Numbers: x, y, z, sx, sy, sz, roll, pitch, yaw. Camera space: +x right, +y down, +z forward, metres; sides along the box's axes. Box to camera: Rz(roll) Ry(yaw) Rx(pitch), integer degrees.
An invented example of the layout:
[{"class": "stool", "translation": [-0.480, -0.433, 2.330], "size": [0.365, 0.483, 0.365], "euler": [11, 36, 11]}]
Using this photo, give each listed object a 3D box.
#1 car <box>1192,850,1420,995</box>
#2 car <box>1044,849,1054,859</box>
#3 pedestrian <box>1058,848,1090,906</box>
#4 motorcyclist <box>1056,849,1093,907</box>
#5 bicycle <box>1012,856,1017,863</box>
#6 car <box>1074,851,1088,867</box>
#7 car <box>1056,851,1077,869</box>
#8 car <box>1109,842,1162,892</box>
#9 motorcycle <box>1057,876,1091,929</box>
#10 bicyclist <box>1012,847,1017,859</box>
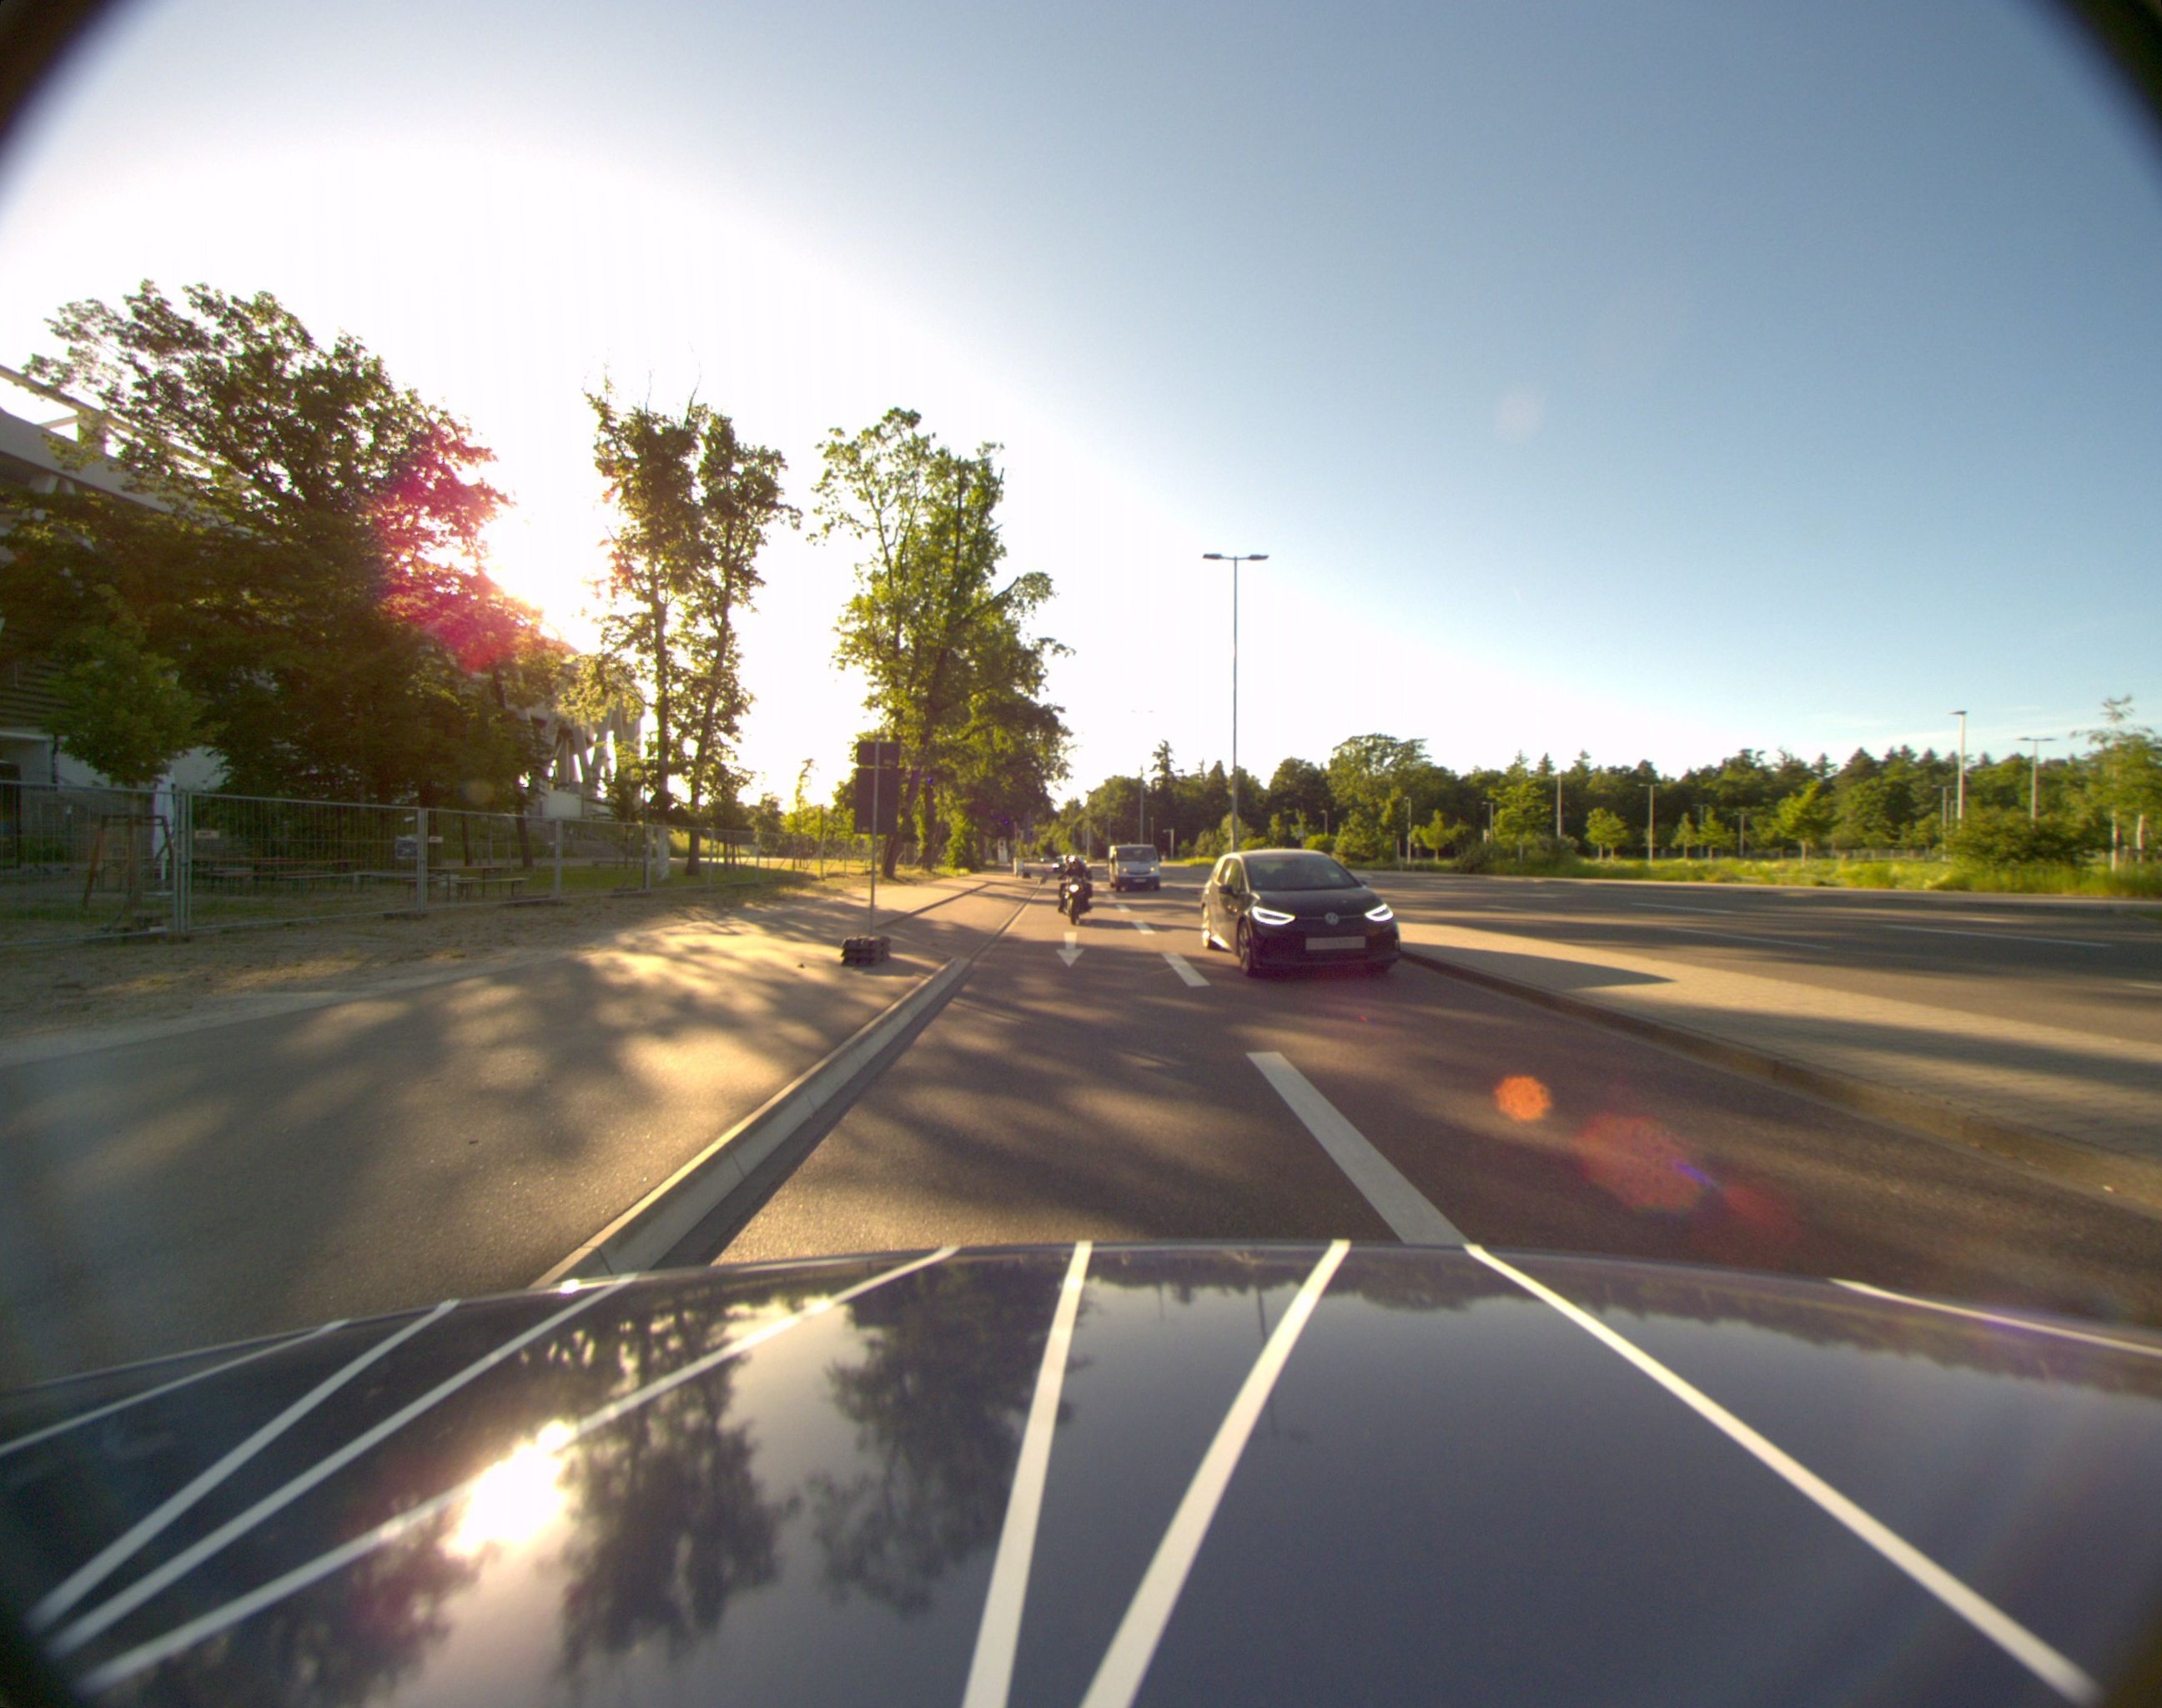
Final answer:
[{"class": "car", "translation": [2.807, 0.751, 10.471], "size": [1.883, 1.528, 3.999], "euler": [-2, 1, 0]}, {"class": "car", "translation": [-6.167, -0.038, 147.527], "size": [1.774, 1.849, 3.999], "euler": [-2, 1, 1]}, {"class": "pedestrian", "translation": [-0.165, 0.568, 19.046], "size": [0.739, 1.387, 0.500], "euler": [-2, 1, 1]}, {"class": "motorcyclist", "translation": [-0.155, 0.585, 18.534], "size": [0.822, 1.367, 0.476], "euler": [-2, 1, 1]}, {"class": "bicycle", "translation": [-7.947, 0.633, 90.754], "size": [0.481, 0.854, 1.910], "euler": [0, 0, 1]}, {"class": "car", "translation": [0.057, 0.620, 96.061], "size": [1.675, 1.827, 3.982], "euler": [-2, 1, 1]}, {"class": "car", "translation": [-1.383, 0.606, 73.511], "size": [1.883, 1.629, 5.048], "euler": [-2, 0, 0]}, {"class": "car", "translation": [2.313, 0.550, 33.663], "size": [1.883, 1.951, 5.048], "euler": [-2, 0, 0]}, {"class": "motorcycle", "translation": [-0.137, 1.125, 18.433], "size": [0.717, 1.058, 2.721], "euler": [-2, 0, 1]}, {"class": "bicyclist", "translation": [-7.939, -0.171, 90.802], "size": [0.451, 1.412, 0.575], "euler": [0, 1, 1]}]
